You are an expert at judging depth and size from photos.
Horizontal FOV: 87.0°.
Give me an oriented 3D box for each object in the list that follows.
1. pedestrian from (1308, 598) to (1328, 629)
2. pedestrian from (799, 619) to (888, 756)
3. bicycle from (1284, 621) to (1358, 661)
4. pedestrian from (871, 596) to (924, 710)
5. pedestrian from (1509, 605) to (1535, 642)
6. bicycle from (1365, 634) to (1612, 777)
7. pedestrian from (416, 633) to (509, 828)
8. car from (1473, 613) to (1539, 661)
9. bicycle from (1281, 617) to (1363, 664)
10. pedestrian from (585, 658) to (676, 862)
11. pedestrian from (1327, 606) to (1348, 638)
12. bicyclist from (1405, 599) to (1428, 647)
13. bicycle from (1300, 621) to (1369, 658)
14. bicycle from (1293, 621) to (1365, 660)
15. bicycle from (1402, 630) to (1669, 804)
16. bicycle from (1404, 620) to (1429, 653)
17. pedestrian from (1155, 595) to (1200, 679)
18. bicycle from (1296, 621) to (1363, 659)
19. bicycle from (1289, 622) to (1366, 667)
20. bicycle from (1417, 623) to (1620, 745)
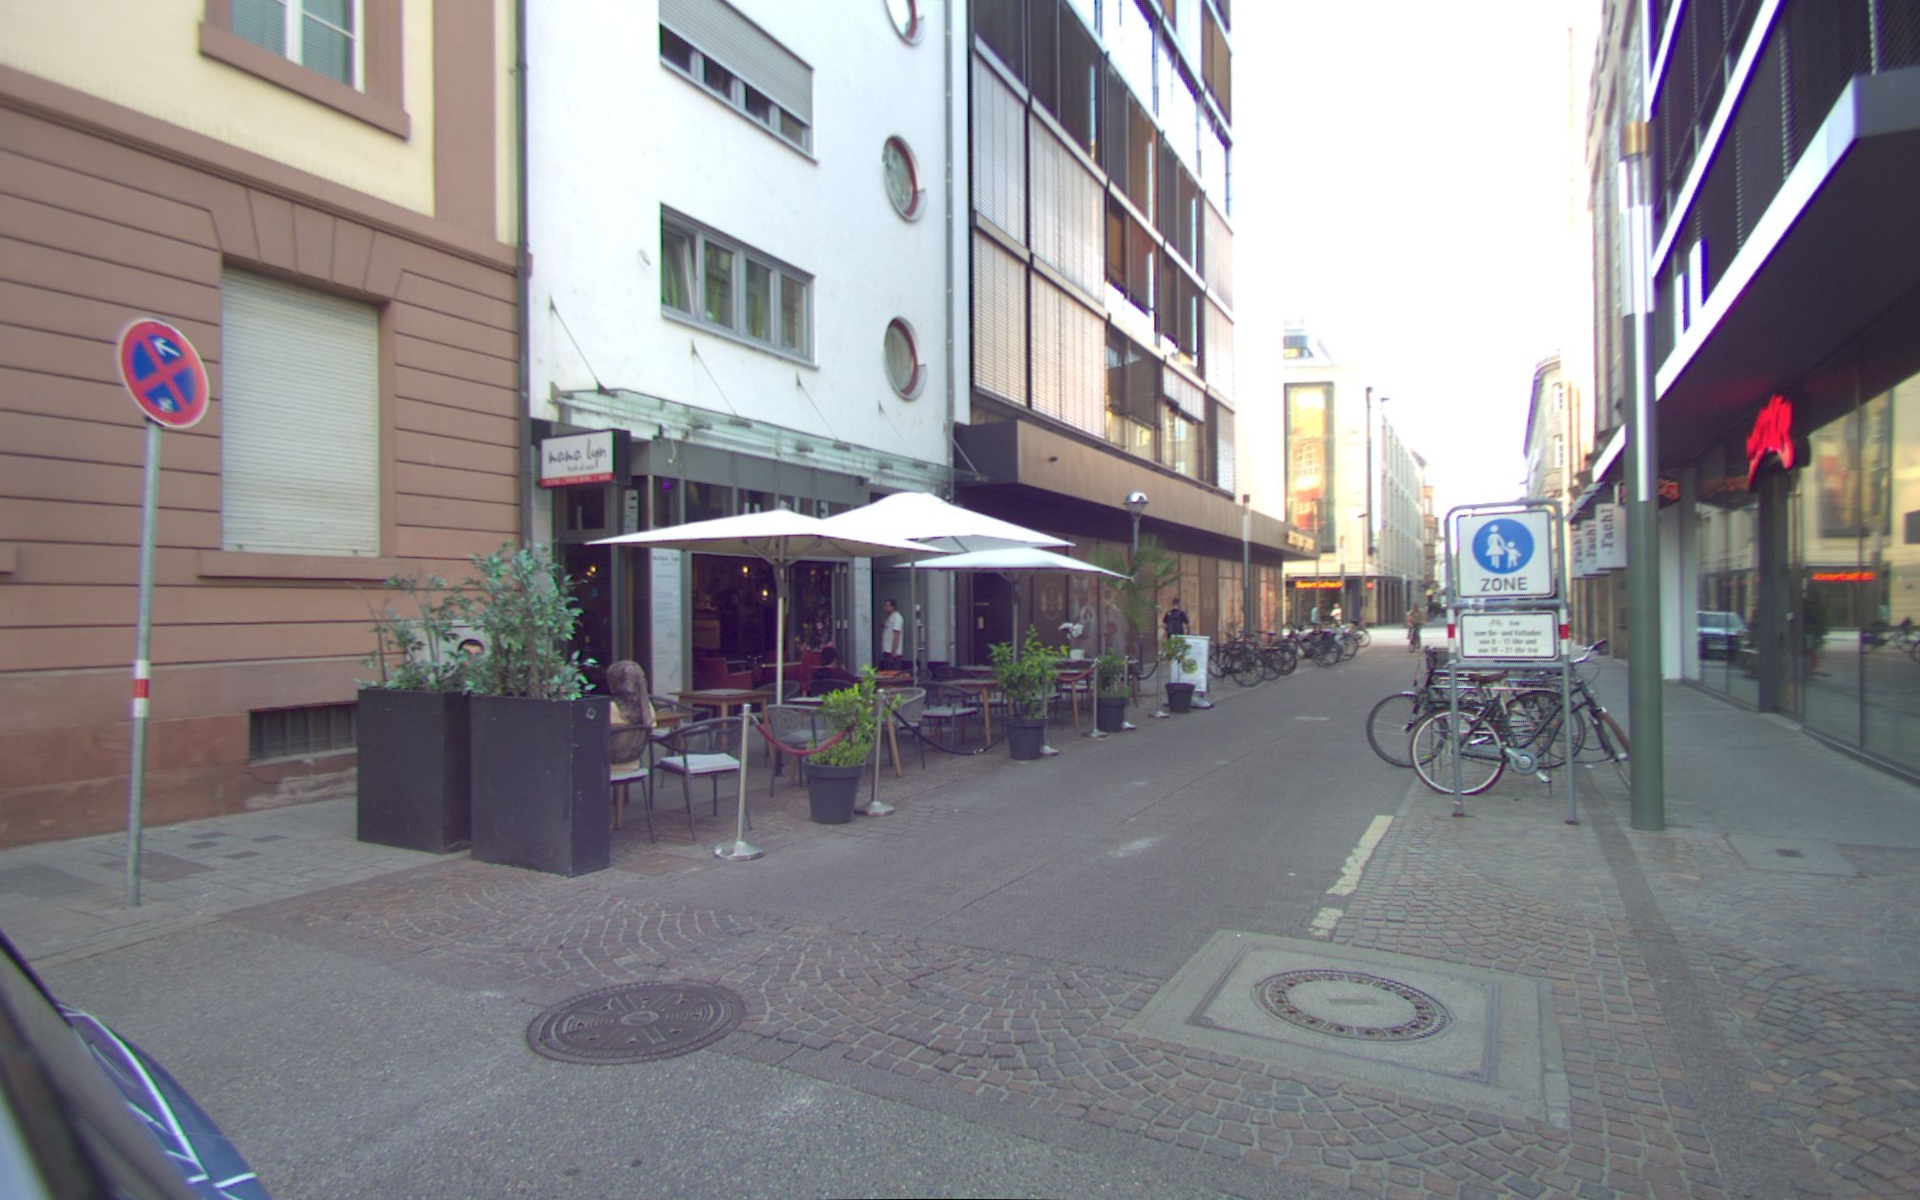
[{"bbox_3d":[18.240,0.696,51.533,0.782,1.536,0.628,-1,0,37],"label":"pedestrian"},{"bbox_3d":[-1.271,0.932,11.156,0.573,1.431,0.859,-1,-1,30],"label":"pedestrian"},{"bbox_3d":[10.929,1.230,30.661,2.030,1.176,0.613,-1,-1,29],"label":"bicycle"},{"bbox_3d":[-1.006,0.832,16.253,0.636,1.785,0.597,-1,-1,24],"label":"pedestrian"},{"bbox_3d":[25.558,1.060,46.022,0.770,1.633,0.637,-1,0,-11],"label":"pedestrian"},{"bbox_3d":[4.759,0.938,9.228,1.895,1.190,0.512,-3,-2,28],"label":"bicycle"},{"bbox_3d":[-3.519,0.898,7.177,0.359,1.315,0.493,-1,-1,15],"label":"pedestrian"},{"bbox_3d":[17.611,1.139,32.558,1.599,1.434,3.564,-1,-1,33],"label":"car"},{"bbox_3d":[10.036,1.098,28.063,2.031,1.176,0.659,2,0,29],"label":"bicycle"},{"bbox_3d":[-2.091,0.993,6.436,0.397,1.223,0.381,-1,-1,19],"label":"pedestrian"},{"bbox_3d":[19.165,1.104,51.399,0.625,1.633,0.785,-1,0,-20],"label":"pedestrian"},{"bbox_3d":[16.489,0.831,36.529,0.673,1.683,0.861,-2,-1,28],"label":"bicyclist"},{"bbox_3d":[12.207,1.279,33.021,2.030,1.176,0.613,-1,-1,29],"label":"bicycle"},{"bbox_3d":[11.507,1.259,31.587,2.030,1.176,0.613,-1,-1,29],"label":"bicycle"},{"bbox_3d":[4.334,0.870,7.739,1.663,1.213,0.504,-3,-2,29],"label":"bicycle"},{"bbox_3d":[16.456,1.319,36.438,0.696,1.137,1.986,-2,-1,28],"label":"bicycle"},{"bbox_3d":[4.876,0.816,22.710,0.801,1.850,0.668,-1,-1,31],"label":"pedestrian"},{"bbox_3d":[12.322,1.326,33.769,2.030,1.225,0.613,-1,-1,29],"label":"bicycle"},{"bbox_3d":[10.678,1.274,29.429,2.031,1.176,0.613,2,0,29],"label":"bicycle"},{"bbox_3d":[6.234,0.937,11.383,1.896,1.279,0.533,-3,-2,30],"label":"bicycle"}]
